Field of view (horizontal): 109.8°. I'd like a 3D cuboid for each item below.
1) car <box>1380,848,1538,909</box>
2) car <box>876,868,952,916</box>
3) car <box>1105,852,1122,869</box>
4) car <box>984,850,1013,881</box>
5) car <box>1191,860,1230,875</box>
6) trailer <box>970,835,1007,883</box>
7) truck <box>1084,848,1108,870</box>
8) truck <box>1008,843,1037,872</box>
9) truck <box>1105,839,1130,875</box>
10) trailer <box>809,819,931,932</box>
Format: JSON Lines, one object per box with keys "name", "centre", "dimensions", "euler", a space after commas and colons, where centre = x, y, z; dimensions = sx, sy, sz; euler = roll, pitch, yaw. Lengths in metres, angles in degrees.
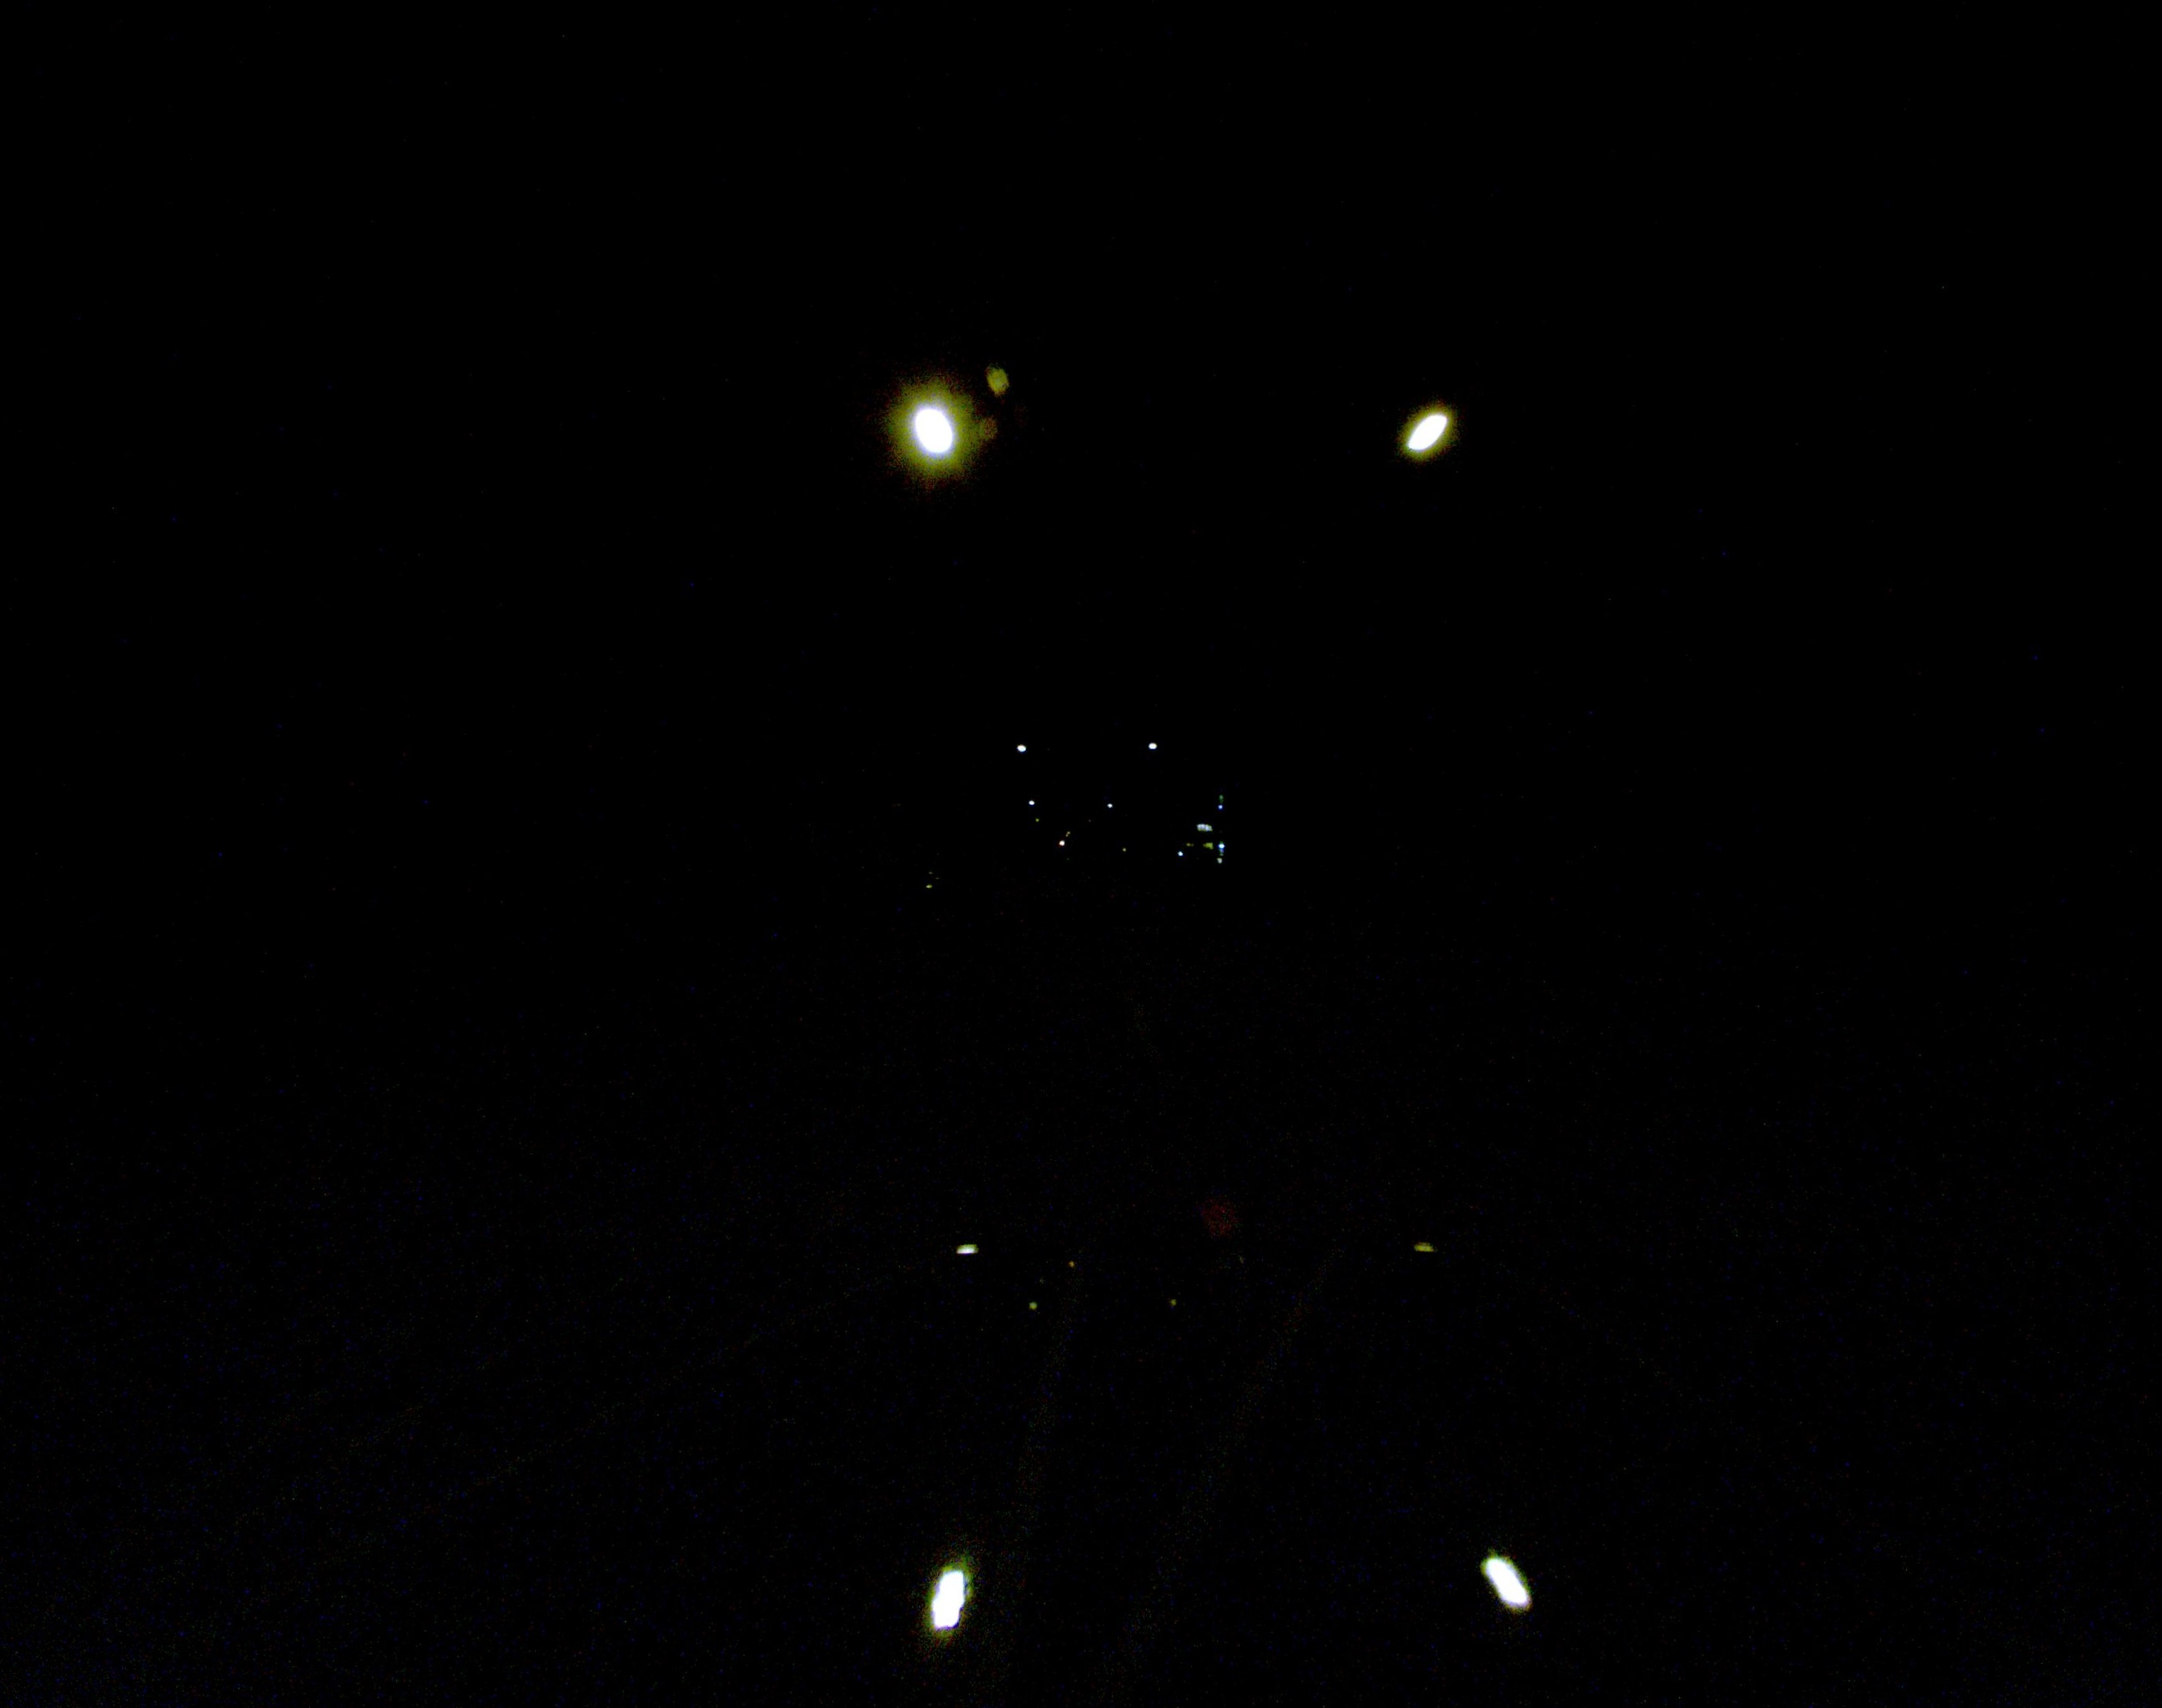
{"name": "car", "centre": [12.895, 0.817, 26.130], "dimensions": [4.444, 1.960, 2.000], "euler": [-1, 0, -3]}
{"name": "car", "centre": [-5.423, 1.175, 25.199], "dimensions": [1.731, 1.378, 4.675], "euler": [-1, 0, -4]}
{"name": "car", "centre": [4.607, 0.911, 108.722], "dimensions": [2.145, 2.298, 4.468], "euler": [-1, 0, -1]}
{"name": "car", "centre": [-7.090, 0.965, 66.002], "dimensions": [1.946, 2.533, 6.645], "euler": [-1, 0, -2]}
{"name": "car", "centre": [14.722, 1.505, 86.363], "dimensions": [3.998, 1.455, 1.805], "euler": [-4, 0, -5]}
{"name": "trailer", "centre": [-6.630, 0.362, 54.940], "dimensions": [2.405, 3.306, 4.360], "euler": [-1, 0, -5]}
{"name": "truck", "centre": [2.462, 0.840, 127.457], "dimensions": [2.830, 3.610, 10.396], "euler": [-1, 0, -6]}
{"name": "truck", "centre": [-8.172, 0.531, 107.106], "dimensions": [2.515, 3.814, 12.661], "euler": [-1, 0, 3]}
{"name": "truck", "centre": [4.694, 0.376, 99.464], "dimensions": [2.644, 4.289, 12.822], "euler": [2, 0, 0]}
{"name": "trailer", "centre": [-5.375, 0.530, 19.902], "dimensions": [1.998, 2.635, 4.000], "euler": [-1, 0, 1]}
